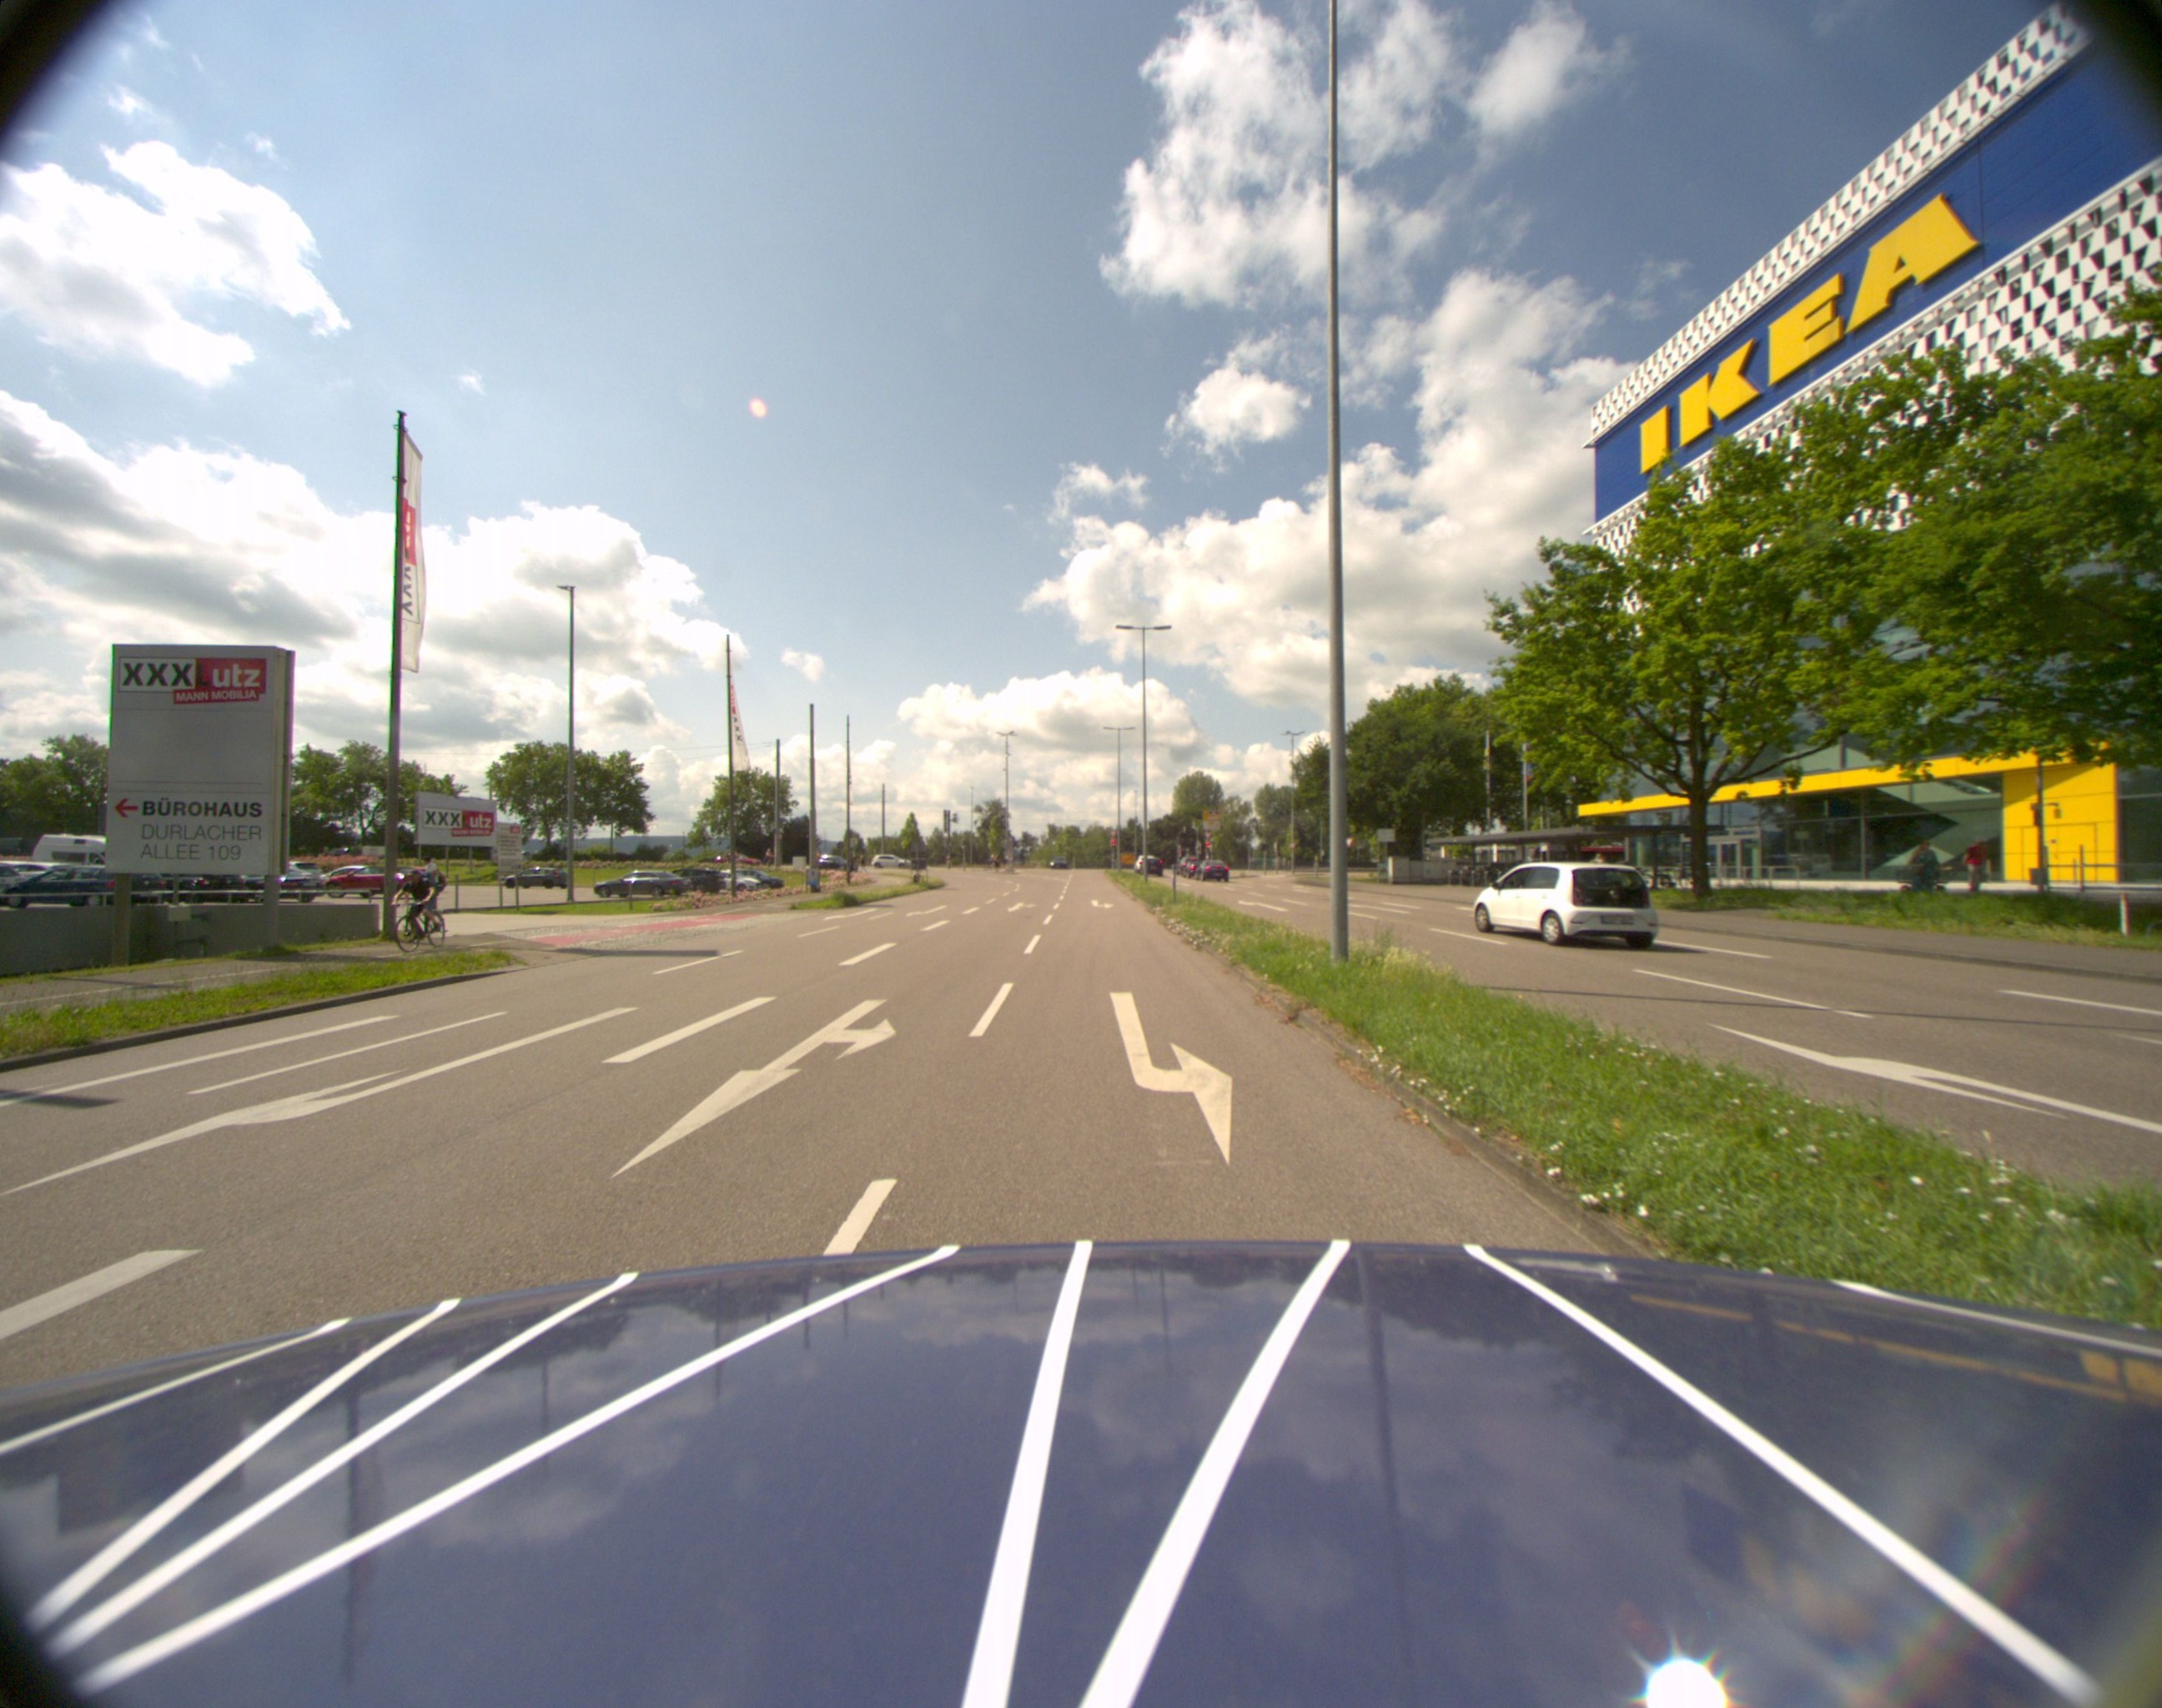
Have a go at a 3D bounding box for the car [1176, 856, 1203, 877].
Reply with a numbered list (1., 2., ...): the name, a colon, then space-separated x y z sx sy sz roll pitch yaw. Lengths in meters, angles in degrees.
1. car: 9.477 1.089 66.589 1.775 1.606 3.999 2 1 0

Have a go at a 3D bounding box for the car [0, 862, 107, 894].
1. car: -49.339 1.163 36.127 3.996 1.443 1.669 -1 -1 1

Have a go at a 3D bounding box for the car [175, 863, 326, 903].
1. car: -33.452 1.142 30.680 4.369 1.499 1.682 1 0 2

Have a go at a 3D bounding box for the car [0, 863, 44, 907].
1. car: -38.724 1.099 25.962 4.159 1.499 1.826 -1 -1 1

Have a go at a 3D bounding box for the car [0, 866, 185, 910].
1. car: -33.685 1.137 25.851 4.369 1.354 1.847 1 0 2

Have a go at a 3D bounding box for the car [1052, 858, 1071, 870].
1. car: -2.194 1.188 87.600 1.796 1.311 4.164 -2 -1 3

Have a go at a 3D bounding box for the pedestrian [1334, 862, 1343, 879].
1. pedestrian: 23.346 1.505 68.935 0.439 1.481 0.619 -1 0 -16

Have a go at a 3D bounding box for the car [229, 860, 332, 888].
1. car: -48.613 1.218 46.216 4.236 1.578 1.853 1 -1 -1

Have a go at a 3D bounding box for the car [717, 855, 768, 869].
1. car: -33.674 0.808 75.655 4.248 1.352 1.748 1 1 -5

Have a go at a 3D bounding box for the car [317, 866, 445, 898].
1. car: -32.826 1.313 35.718 4.369 1.354 1.847 1 -2 2

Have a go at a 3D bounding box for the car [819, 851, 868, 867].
1. car: -23.084 0.461 73.790 4.192 1.474 1.919 1 1 19

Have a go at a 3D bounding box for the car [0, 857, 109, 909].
1. car: -33.621 0.917 23.834 4.025 1.578 1.695 0 -2 -1

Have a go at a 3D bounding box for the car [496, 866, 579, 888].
1. car: -38.169 1.620 53.460 4.369 1.400 2.050 1 -1 2

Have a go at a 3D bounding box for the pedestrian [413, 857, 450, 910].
1. pedestrian: -22.174 1.008 25.951 0.782 1.771 0.874 -2 -1 43

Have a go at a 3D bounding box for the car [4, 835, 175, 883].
1. car: -67.176 0.329 51.573 7.897 3.136 3.123 0 0 3

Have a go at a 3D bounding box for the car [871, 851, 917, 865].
1. car: -20.406 0.443 83.001 4.495 1.404 2.014 0 0 -3

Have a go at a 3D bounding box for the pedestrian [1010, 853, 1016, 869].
1. pedestrian: -6.849 0.712 76.510 0.556 1.515 0.470 -1 -1 9

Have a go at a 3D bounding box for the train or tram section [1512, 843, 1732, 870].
1. train or tram section: 68.638 0.359 96.819 25.113 3.014 4.530 1 -1 -1

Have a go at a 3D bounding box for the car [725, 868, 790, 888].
1. car: -23.630 1.726 55.563 3.997 1.410 1.715 0 0 -1

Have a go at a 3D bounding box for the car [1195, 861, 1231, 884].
1. car: 9.119 1.241 52.792 1.668 1.413 4.518 2 0 0

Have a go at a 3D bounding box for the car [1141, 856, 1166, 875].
1. car: 5.851 0.898 61.798 1.608 1.484 4.132 2 0 0

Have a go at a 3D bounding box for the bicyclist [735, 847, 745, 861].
1. bicyclist: -32.010 -0.021 71.309 0.687 1.317 0.593 -1 -1 2

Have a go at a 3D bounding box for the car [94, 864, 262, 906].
1. car: -33.498 1.156 28.253 4.369 1.433 1.627 1 -2 2

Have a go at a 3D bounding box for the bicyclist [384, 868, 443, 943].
1. bicyclist: -12.913 0.975 14.716 0.618 1.404 0.714 0 -1 -18

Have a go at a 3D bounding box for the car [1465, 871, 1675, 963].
1. car: 8.914 1.067 14.242 1.647 1.420 3.671 1 0 2

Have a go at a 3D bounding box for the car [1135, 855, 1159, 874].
1. car: 5.928 0.926 68.938 1.712 1.610 4.377 1 1 0

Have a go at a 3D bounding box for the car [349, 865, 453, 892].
1. car: -38.858 1.397 43.475 4.369 1.418 1.847 1 -2 2

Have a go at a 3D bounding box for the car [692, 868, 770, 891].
1. car: -23.421 1.685 50.917 4.369 1.431 1.797 0 0 1

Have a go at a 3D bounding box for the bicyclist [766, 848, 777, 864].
1. bicyclist: -28.862 0.163 70.845 0.742 1.466 0.651 -1 -1 1

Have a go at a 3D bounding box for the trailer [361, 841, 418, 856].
1. trailer: -88.587 -0.671 97.401 5.182 1.820 1.824 -1 0 -8

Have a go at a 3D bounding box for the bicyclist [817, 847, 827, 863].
1. bicyclist: -24.048 0.104 70.587 0.696 1.526 0.621 -1 -1 4

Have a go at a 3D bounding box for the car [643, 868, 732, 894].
1. car: -23.631 1.623 45.697 4.369 1.408 1.857 -1 0 1

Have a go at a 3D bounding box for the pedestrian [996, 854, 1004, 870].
1. pedestrian: -7.990 0.792 75.005 0.584 1.515 0.469 -1 0 9

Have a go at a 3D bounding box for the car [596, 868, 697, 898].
1. car: -23.262 1.545 40.796 4.369 1.468 1.857 -1 0 2

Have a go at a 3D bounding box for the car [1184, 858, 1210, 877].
1. car: 8.928 1.020 58.798 1.415 1.383 4.096 2 0 1

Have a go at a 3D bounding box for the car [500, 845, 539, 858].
1. car: -71.904 -0.306 97.342 3.491 1.448 1.699 -3 2 -8
